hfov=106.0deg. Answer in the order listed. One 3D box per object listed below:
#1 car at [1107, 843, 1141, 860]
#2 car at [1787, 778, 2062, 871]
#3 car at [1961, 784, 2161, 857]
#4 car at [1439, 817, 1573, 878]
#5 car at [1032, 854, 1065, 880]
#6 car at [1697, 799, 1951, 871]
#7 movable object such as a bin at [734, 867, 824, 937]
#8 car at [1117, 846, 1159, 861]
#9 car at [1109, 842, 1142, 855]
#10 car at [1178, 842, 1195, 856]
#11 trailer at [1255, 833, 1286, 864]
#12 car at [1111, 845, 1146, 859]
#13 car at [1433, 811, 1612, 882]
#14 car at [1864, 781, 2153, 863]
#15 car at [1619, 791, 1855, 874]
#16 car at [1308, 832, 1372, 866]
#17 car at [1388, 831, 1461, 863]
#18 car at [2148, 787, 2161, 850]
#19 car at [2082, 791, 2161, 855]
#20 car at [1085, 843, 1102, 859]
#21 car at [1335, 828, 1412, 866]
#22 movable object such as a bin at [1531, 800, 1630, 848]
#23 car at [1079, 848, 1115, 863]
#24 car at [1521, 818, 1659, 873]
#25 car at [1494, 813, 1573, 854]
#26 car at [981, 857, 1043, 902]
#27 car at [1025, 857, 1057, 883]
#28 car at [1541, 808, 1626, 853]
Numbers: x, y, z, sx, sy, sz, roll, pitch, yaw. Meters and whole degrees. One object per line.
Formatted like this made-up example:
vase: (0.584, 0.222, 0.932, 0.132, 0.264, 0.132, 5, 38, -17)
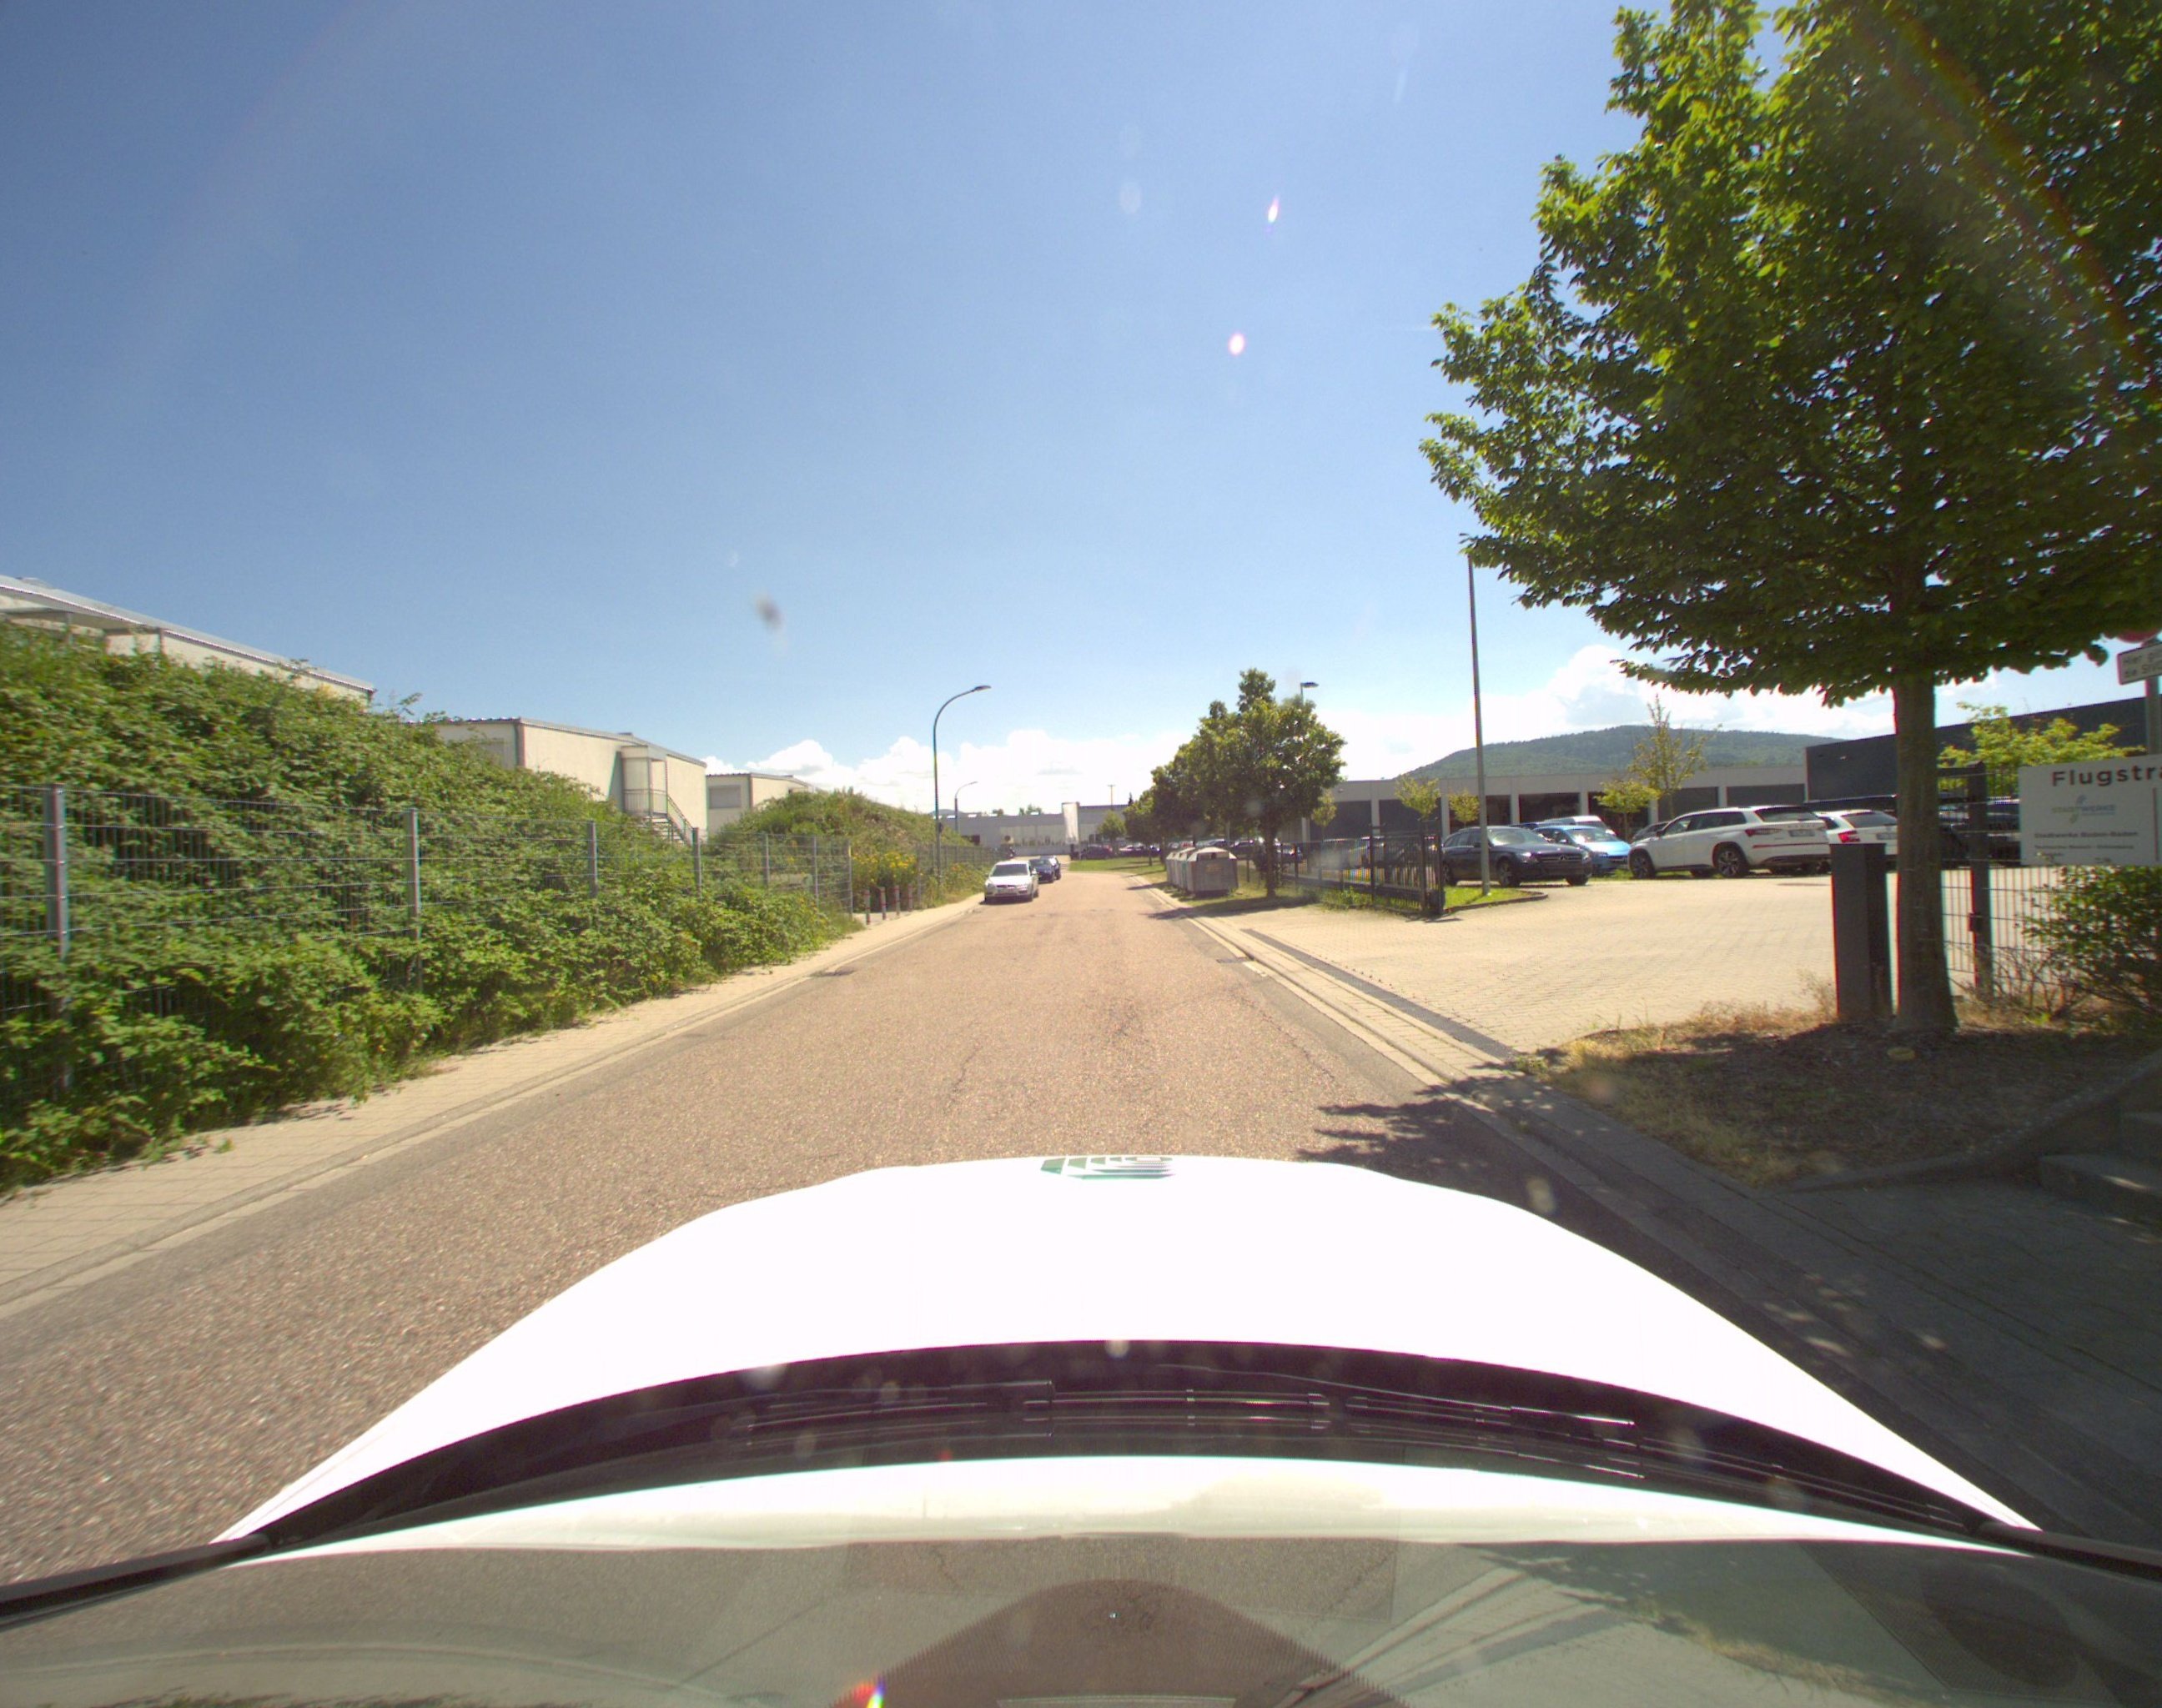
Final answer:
car: (5.101, -0.281, 97.114, 3.975, 1.827, 1.999, -2, -2, -1)
car: (20.247, -0.604, 19.921, 1.906, 1.900, 4.513, -2, -2, -1)
car: (25.272, -0.790, 20.206, 1.906, 1.533, 4.513, -2, -2, -1)
car: (12.752, -0.258, 24.758, 1.784, 1.623, 4.240, -2, 2, -1)
car: (-2.109, 0.833, 53.513, 1.827, 1.546, 4.266, -3, 0, 1)
car: (17.775, -0.362, 19.869, 1.834, 1.433, 4.647, -2, -2, -1)
movable object such as a bin: (-6.919, 1.076, 18.805, 1.298, 1.477, 1.839, -2, 0, 1)
car: (6.289, -0.022, 90.426, 4.425, 1.398, 1.999, -2, -2, -1)
car: (5.522, -0.660, 101.030, 3.975, 1.398, 1.999, -2, -2, -1)
car: (15.824, -0.773, 122.356, 1.986, 1.827, 4.000, -2, -2, 1)
trailer: (13.388, -0.388, 57.649, 1.487, 2.006, 3.267, -3, 2, 3)
car: (5.557, -0.223, 95.446, 3.975, 1.398, 1.999, -2, -2, -1)
car: (10.306, -0.083, 19.462, 1.784, 1.455, 4.407, -2, -2, -1)
car: (22.550, -0.686, 20.155, 1.906, 1.623, 4.513, -2, -2, -1)
car: (15.514, -0.410, 19.672, 1.834, 1.653, 4.647, -2, -2, -1)
car: (13.059, -0.292, 41.307, 1.784, 1.531, 4.420, -2, 2, -1)
car: (17.470, -0.417, 41.650, 1.784, 1.481, 4.420, -2, 2, -1)
car: (30.373, -1.067, 20.142, 1.906, 1.715, 4.529, -2, -2, -1)
car: (27.787, -0.844, 19.526, 1.906, 1.533, 4.513, -2, -2, -1)
car: (1.493, -0.331, 100.580, 1.988, 1.827, 3.998, -2, -2, -1)
car: (12.750, -0.243, 35.730, 1.784, 1.433, 4.140, -2, -2, -1)
movable object such as a bin: (44.963, -2.595, 73.699, 3.529, 3.974, 8.665, -2, 0, 0)
car: (1.737, 0.152, 90.570, 3.975, 1.398, 1.999, -2, -2, -1)
car: (15.414, -0.305, 24.937, 1.641, 1.491, 4.022, -2, 2, -1)
car: (30.113, -1.309, 54.478, 1.875, 2.263, 5.651, -2, -3, -2)
car: (-2.567, 0.910, 31.225, 1.827, 1.546, 4.368, -3, 0, 1)
car: (-2.343, 0.928, 48.422, 1.651, 1.417, 4.144, -3, 0, -1)
car: (32.774, -1.444, 53.336, 1.875, 2.478, 5.501, -2, -3, -2)
